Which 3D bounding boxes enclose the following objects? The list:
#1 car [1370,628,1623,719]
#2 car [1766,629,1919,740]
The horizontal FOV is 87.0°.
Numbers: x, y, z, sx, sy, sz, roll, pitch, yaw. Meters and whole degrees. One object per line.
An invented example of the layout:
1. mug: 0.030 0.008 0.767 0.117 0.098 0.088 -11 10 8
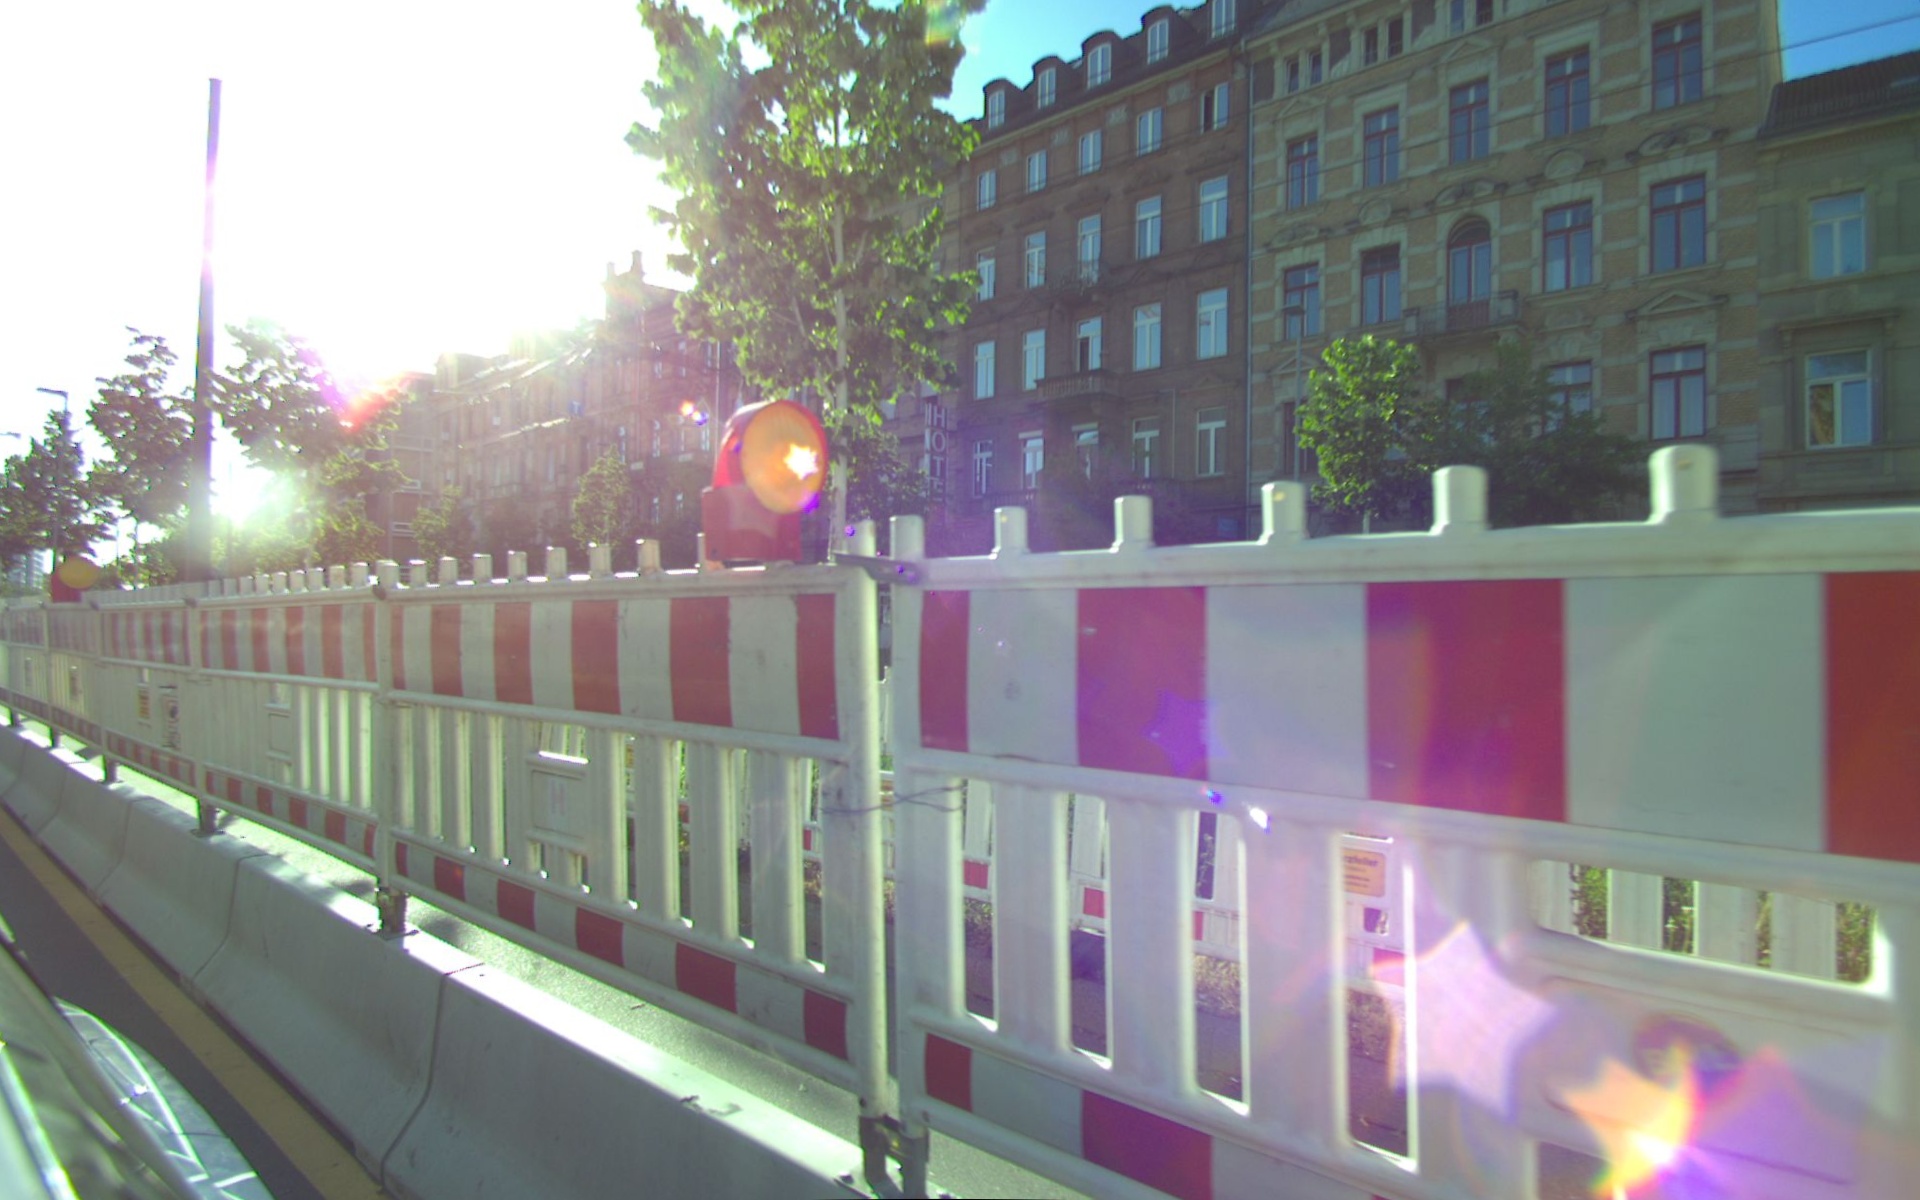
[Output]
1. car: 10.286 1.325 19.561 4.026 1.490 1.730 -1 0 41
2. car: 15.299 1.269 15.141 4.982 1.549 1.973 -1 0 41
